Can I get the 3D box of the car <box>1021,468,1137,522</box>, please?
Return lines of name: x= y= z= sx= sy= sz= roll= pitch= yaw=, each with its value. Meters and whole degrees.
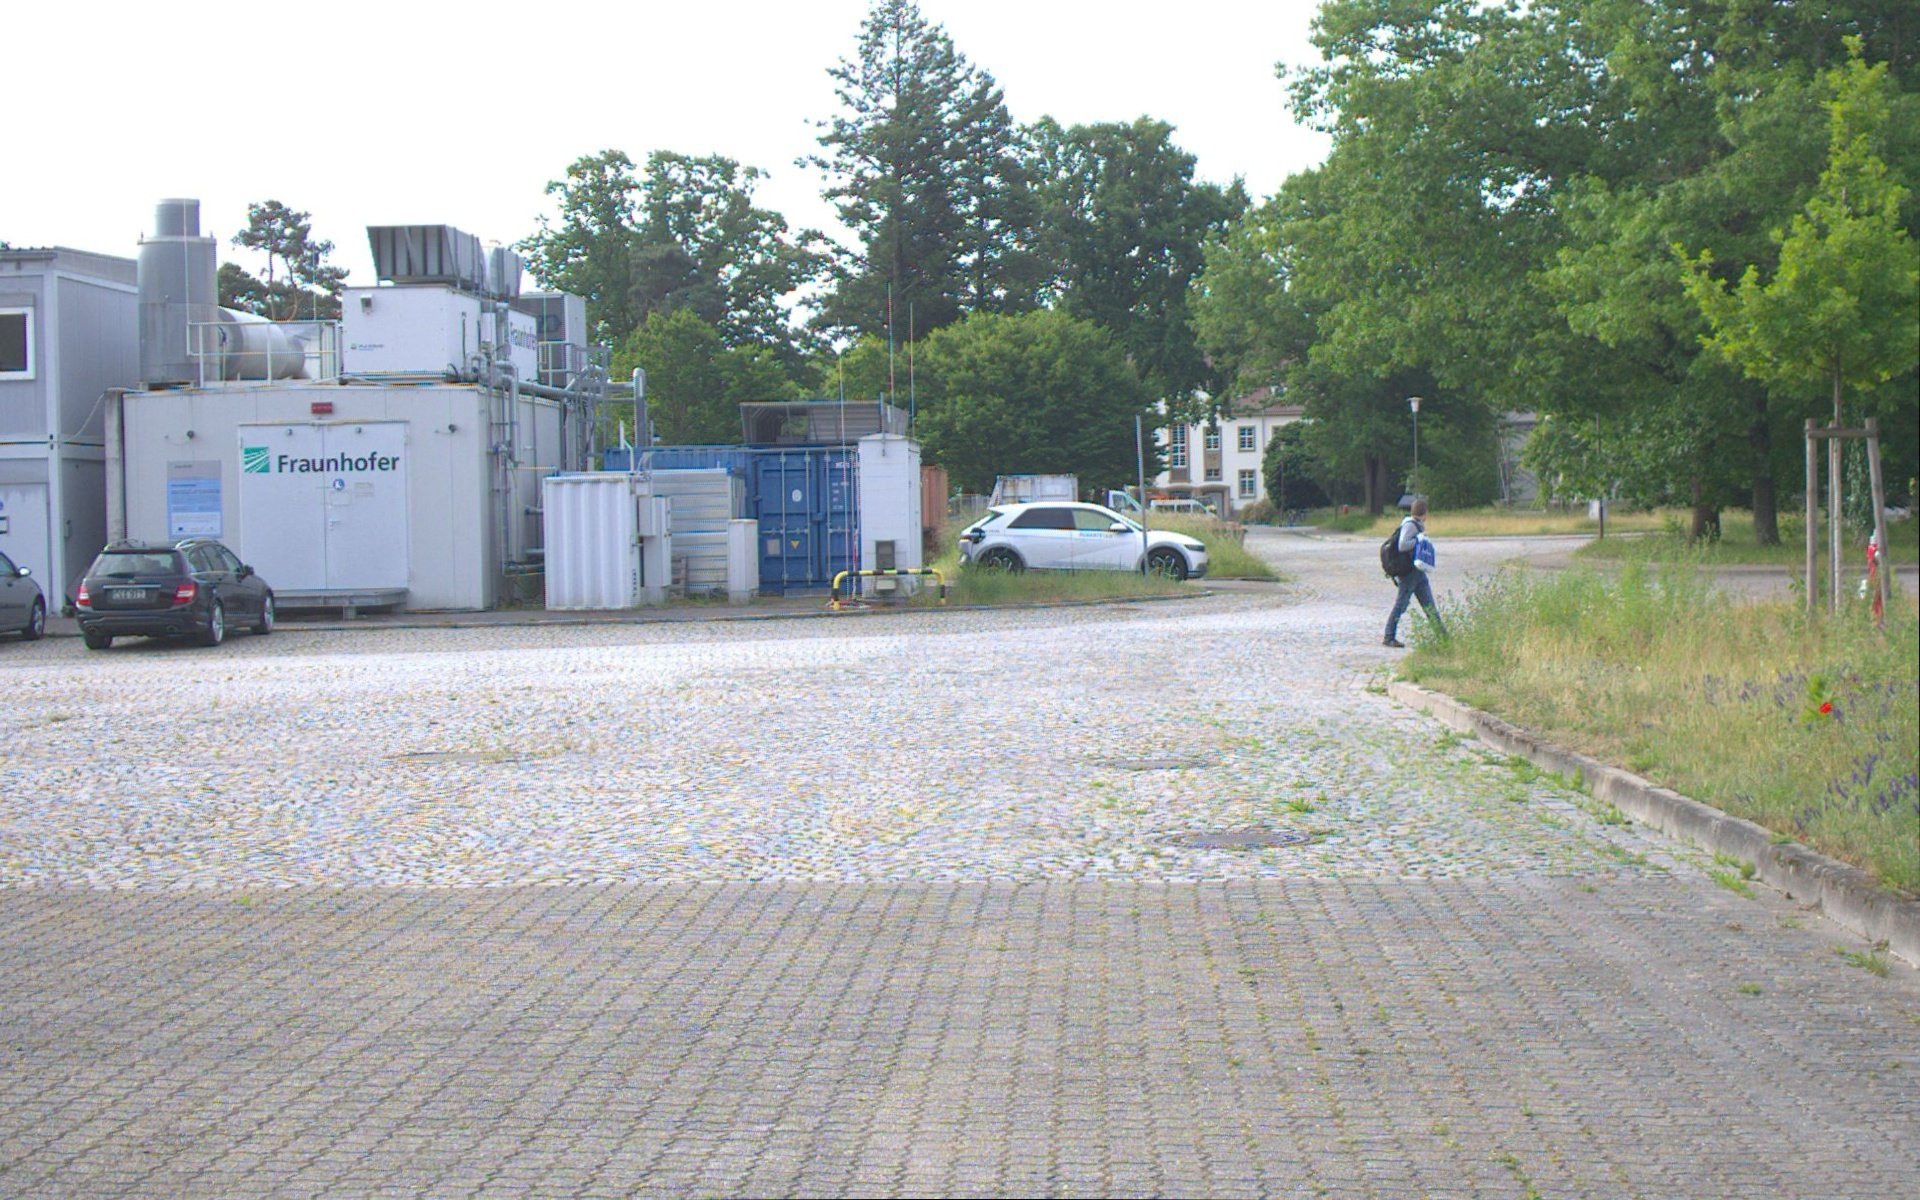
car: x=5.411 y=-4.760 z=155.585 sx=5.171 sy=2.329 sz=2.000 roll=-1 pitch=1 yaw=3

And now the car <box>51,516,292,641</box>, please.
car: x=-10.718 y=-0.334 z=47.081 sx=2.036 sy=1.448 sz=4.530 roll=-1 pitch=3 yaw=3

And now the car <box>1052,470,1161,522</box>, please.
car: x=7.027 y=-4.985 z=165.071 sx=5.171 sy=2.329 sz=2.000 roll=-1 pitch=1 yaw=3

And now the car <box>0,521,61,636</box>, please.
car: x=-13.981 y=-0.282 z=47.646 sx=1.906 sy=1.470 sz=4.047 roll=-1 pitch=3 yaw=1

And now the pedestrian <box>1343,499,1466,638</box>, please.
pedestrian: x=5.079 y=-0.365 z=39.277 sx=1.077 sy=1.551 sz=1.073 roll=-1 pitch=1 yaw=27

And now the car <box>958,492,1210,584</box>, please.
car: x=2.326 y=-1.158 z=63.653 sx=4.535 sy=1.594 sz=2.000 roll=-1 pitch=1 yaw=5
